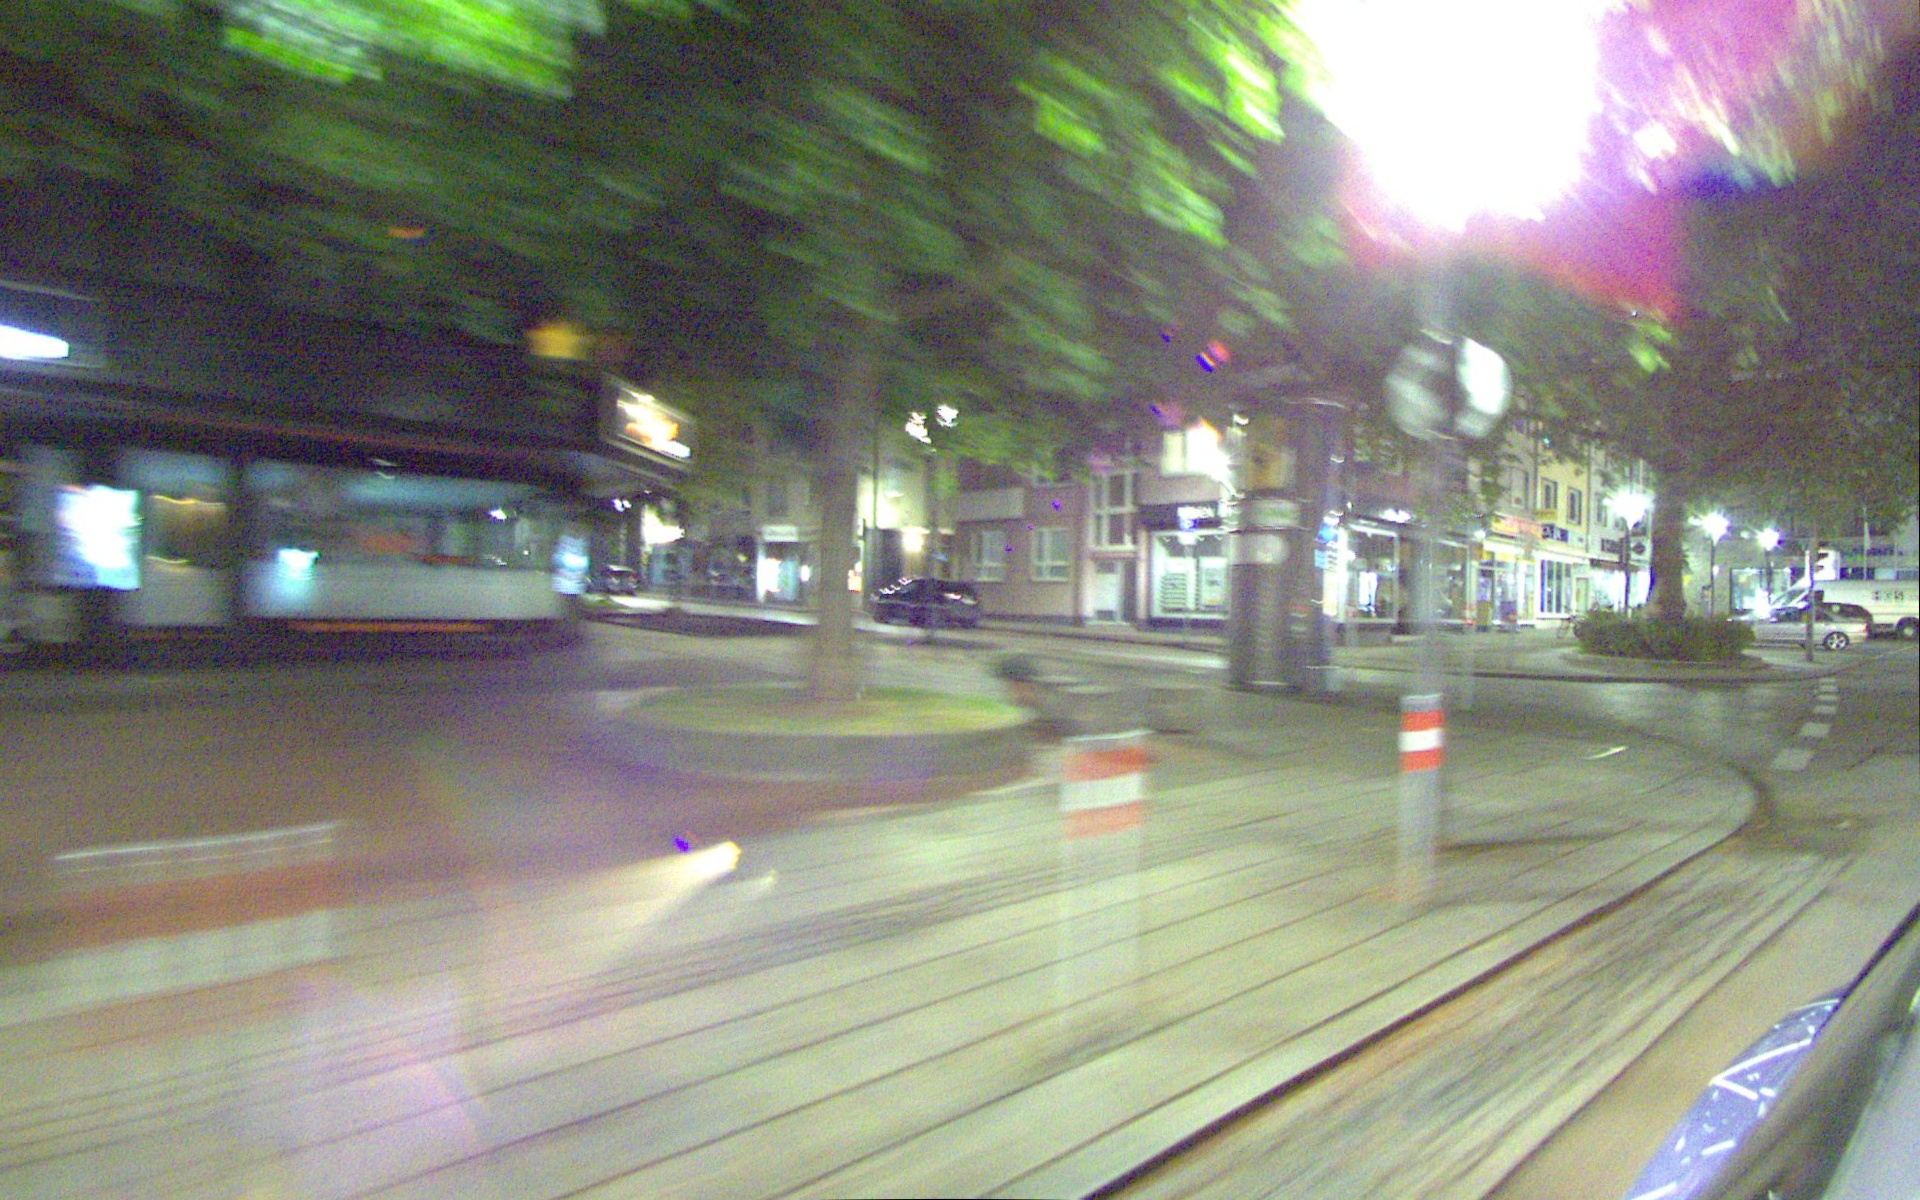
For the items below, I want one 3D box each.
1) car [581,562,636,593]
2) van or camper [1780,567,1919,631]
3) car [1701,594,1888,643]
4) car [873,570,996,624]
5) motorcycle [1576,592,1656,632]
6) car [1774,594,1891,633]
[{"bbox_3d":[-18.721,-1.232,53.853,1.623,1.518,3.519,2,1,-40],"label":"car"},{"bbox_3d":[38.521,-0.036,42.465,5.973,2.565,2.149,1,0,19],"label":"van or camper"},{"bbox_3d":[27.588,0.586,33.603,4.480,1.474,1.630,1,1,14],"label":"car"},{"bbox_3d":[-0.875,-0.122,33.149,1.867,1.609,3.994,2,1,-42],"label":"car"},{"bbox_3d":[21.924,0.391,33.847,2.184,1.286,0.531,1,0,7],"label":"motorcycle"},{"bbox_3d":[35.281,0.502,41.013,3.141,1.474,1.682,1,1,22],"label":"car"}]
